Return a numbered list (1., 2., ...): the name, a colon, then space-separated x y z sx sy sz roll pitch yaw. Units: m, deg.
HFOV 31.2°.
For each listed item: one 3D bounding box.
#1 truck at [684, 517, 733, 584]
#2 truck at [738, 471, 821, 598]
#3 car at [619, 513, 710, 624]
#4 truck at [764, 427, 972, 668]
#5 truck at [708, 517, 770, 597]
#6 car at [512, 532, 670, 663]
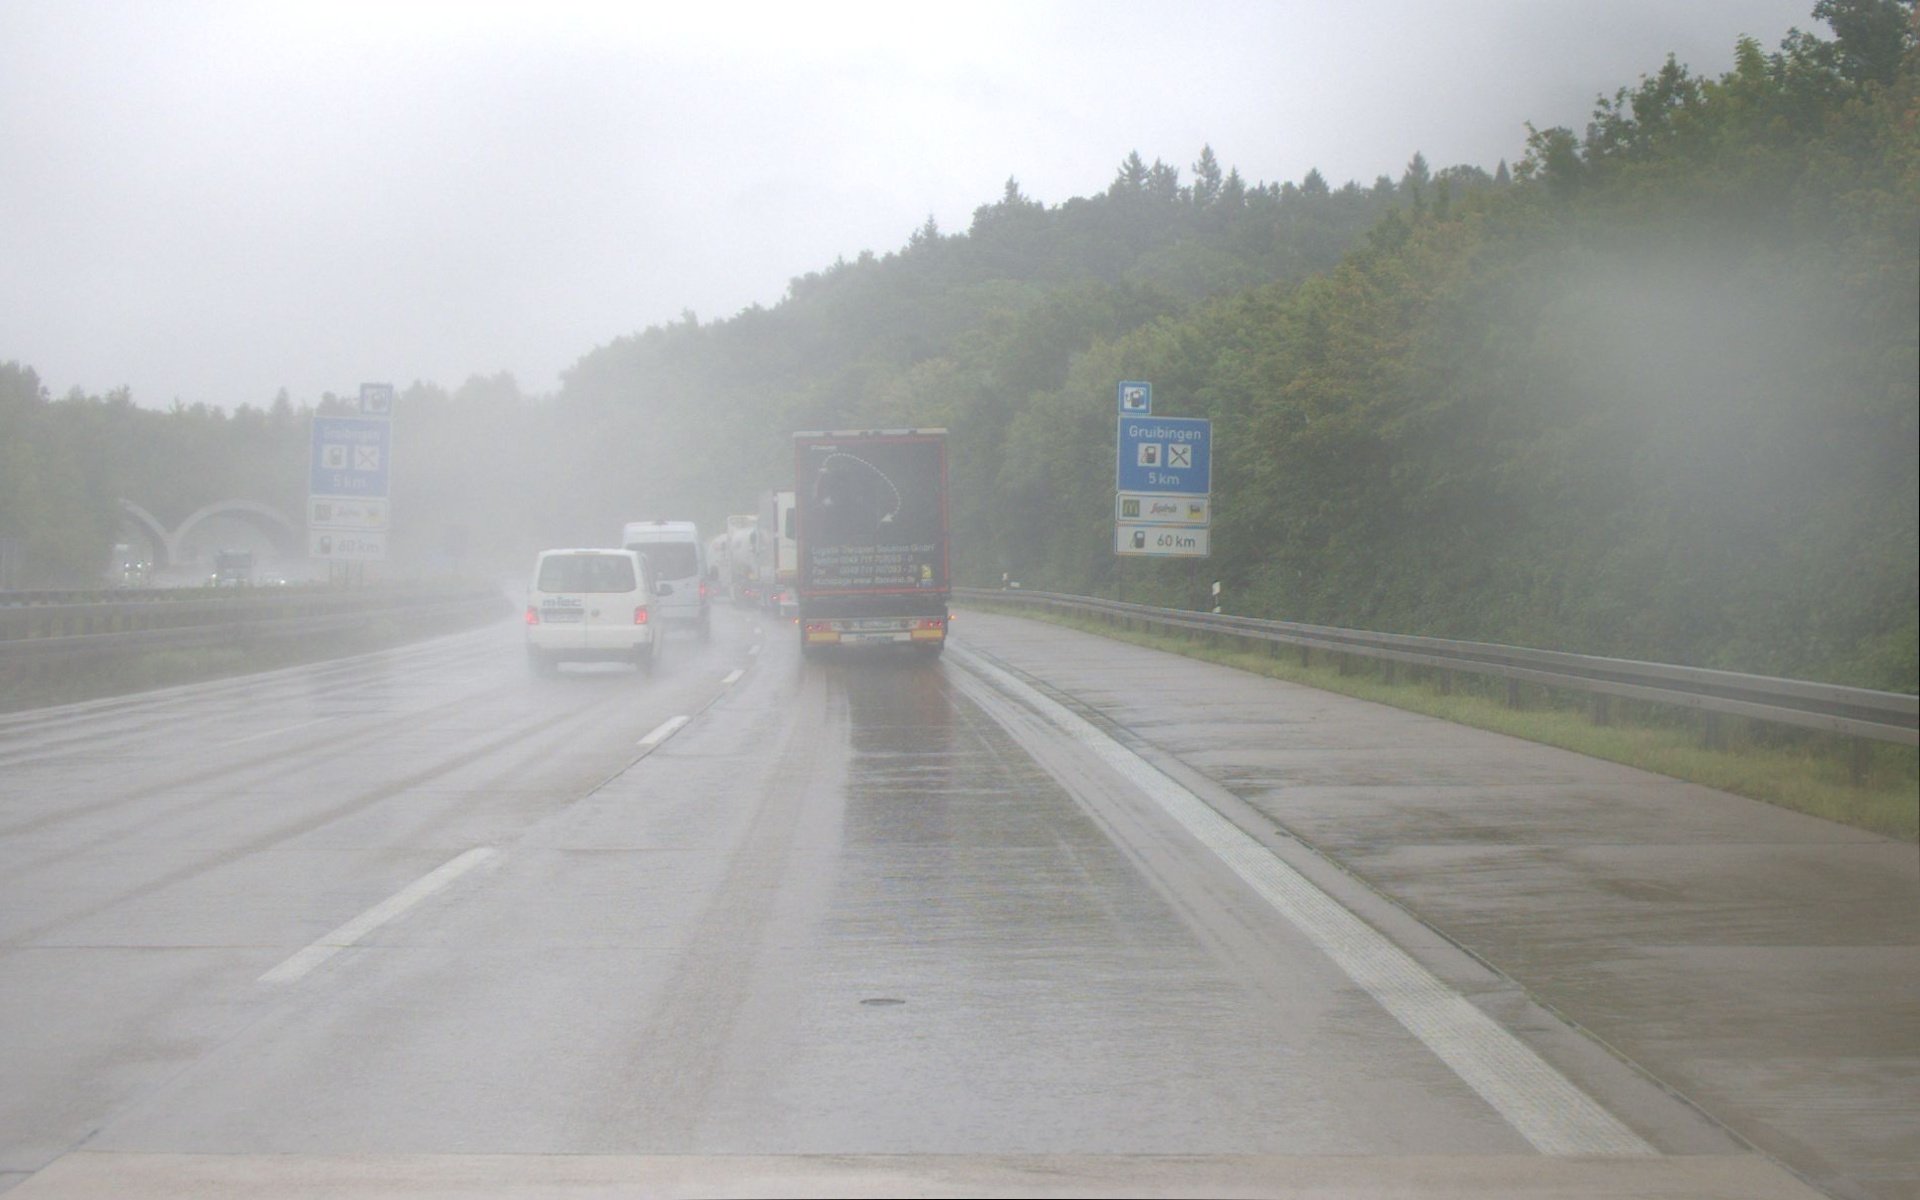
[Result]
1. truck: -12.357 -2.437 168.620 1.993 3.159 6.735 1 1 -8
2. truck: -5.621 -2.014 106.420 1.993 3.793 6.735 1 1 -8
3. car: -6.567 -0.723 75.966 1.899 2.326 5.252 1 1 -6
4. truck: -1.620 -1.068 61.534 3.385 3.954 8.668 -1 3 -1
5. truck: -8.987 -1.743 139.237 1.993 3.159 6.735 1 1 -8
6. car: -5.608 -0.056 52.812 1.899 1.888 5.043 1 1 -1
